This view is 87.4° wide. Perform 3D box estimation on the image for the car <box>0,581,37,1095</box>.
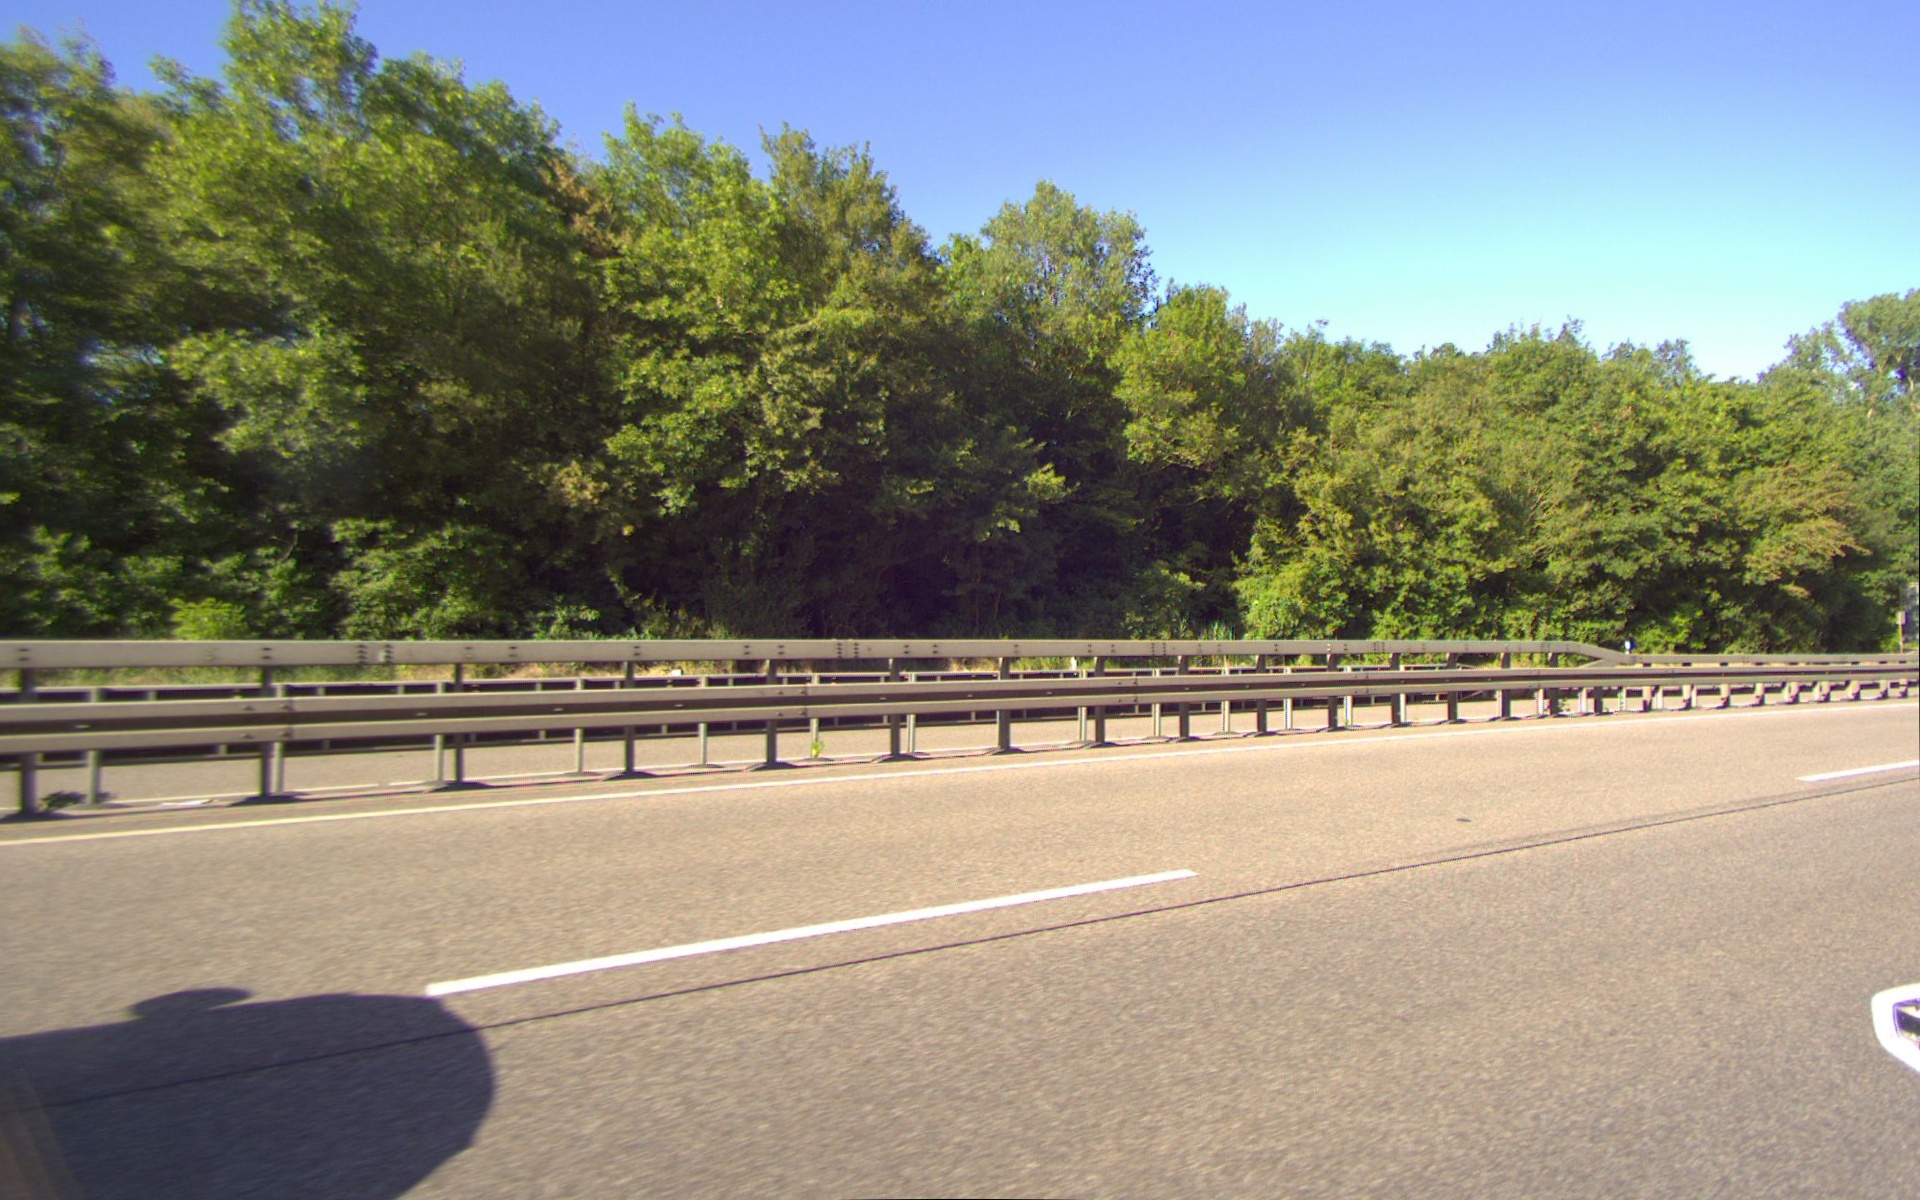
[{"bbox_3d":[-4.904,0.654,0.992,5.532,1.528,1.921,1,0,-30],"label":"car"}]
